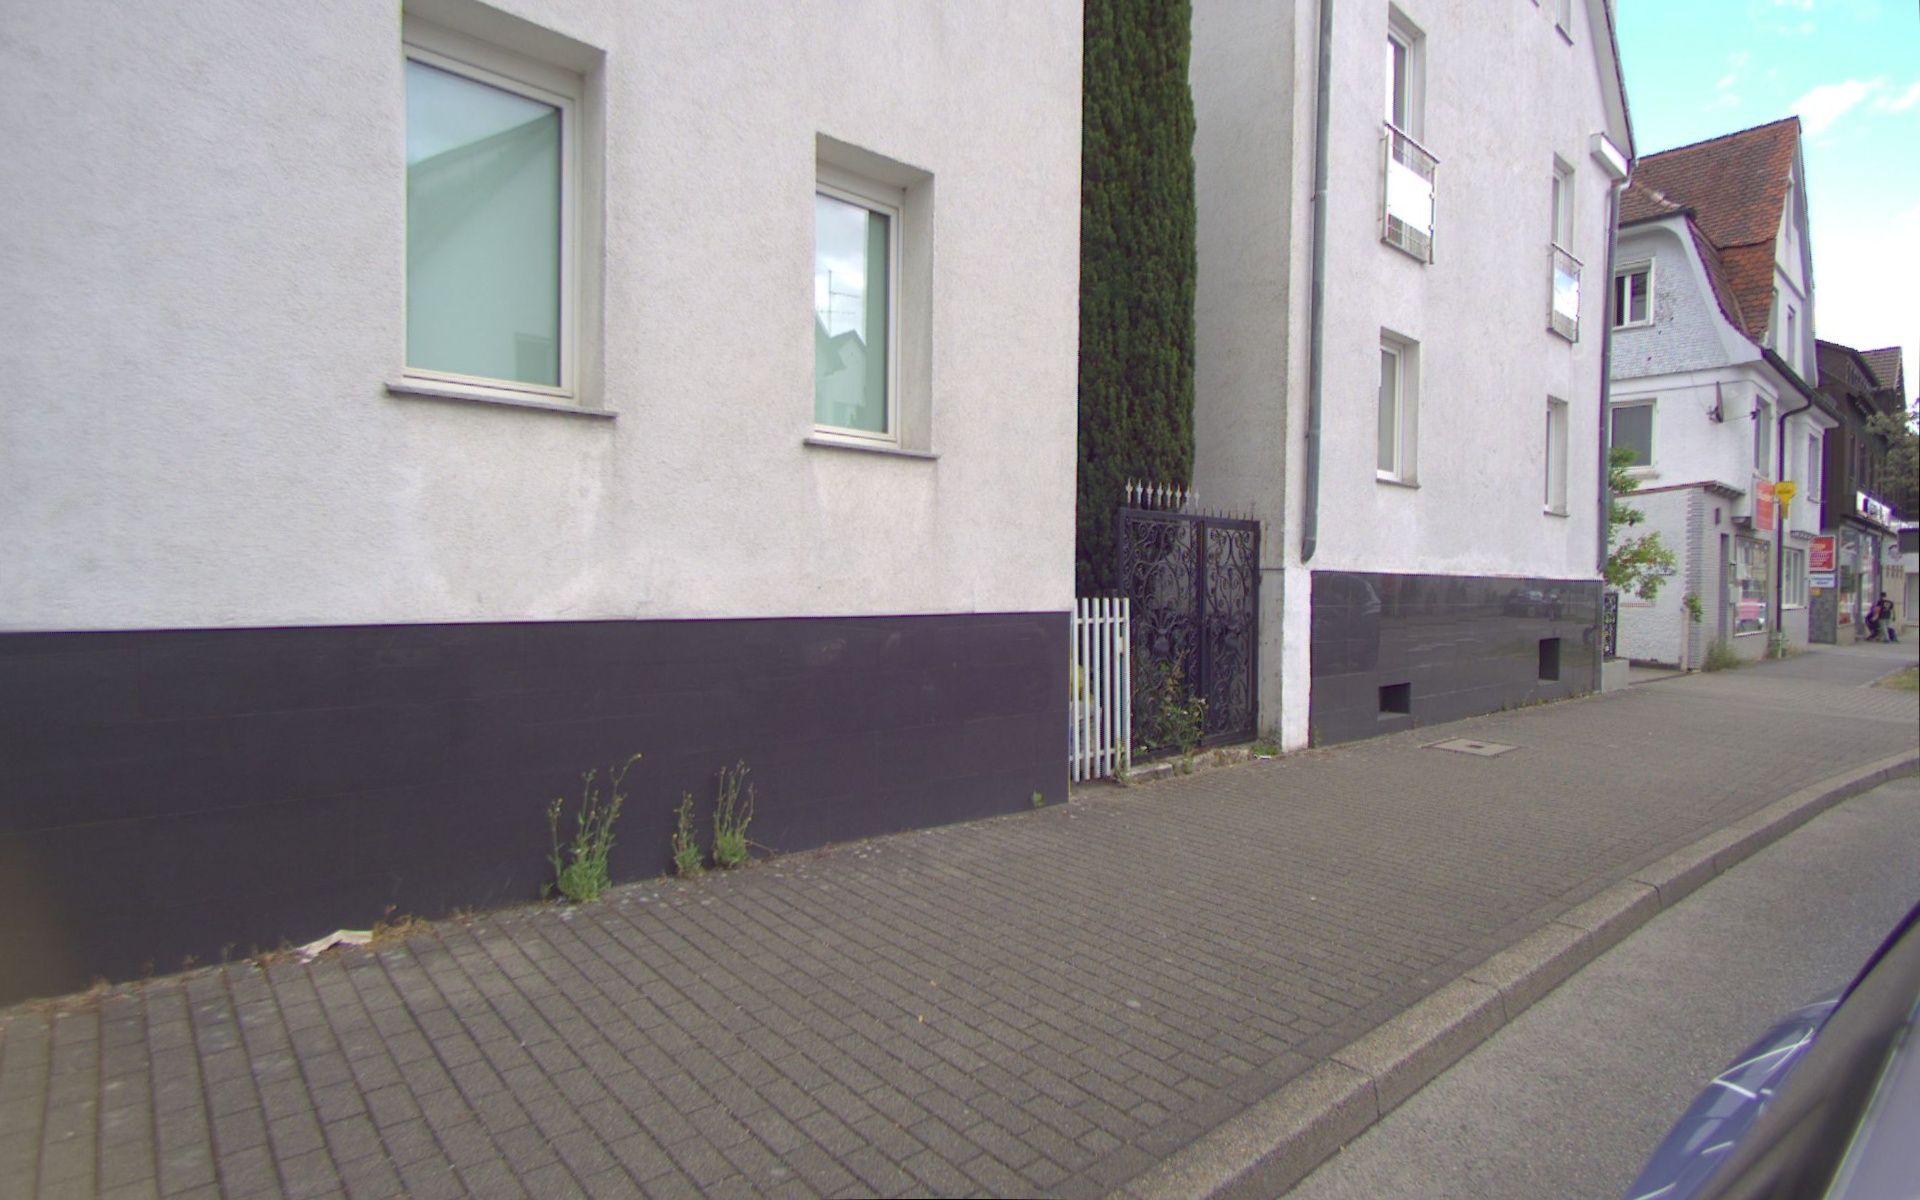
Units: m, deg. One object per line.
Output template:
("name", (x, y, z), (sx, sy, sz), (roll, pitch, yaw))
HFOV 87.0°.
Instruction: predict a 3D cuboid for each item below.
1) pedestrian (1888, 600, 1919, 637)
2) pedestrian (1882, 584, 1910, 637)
("pedestrian", (32.742, 0.641, 35.075), (0.633, 1.226, 0.741), (0, 2, -42))
("pedestrian", (32.061, 0.346, 34.656), (0.642, 1.762, 0.731), (3, 2, 43))
